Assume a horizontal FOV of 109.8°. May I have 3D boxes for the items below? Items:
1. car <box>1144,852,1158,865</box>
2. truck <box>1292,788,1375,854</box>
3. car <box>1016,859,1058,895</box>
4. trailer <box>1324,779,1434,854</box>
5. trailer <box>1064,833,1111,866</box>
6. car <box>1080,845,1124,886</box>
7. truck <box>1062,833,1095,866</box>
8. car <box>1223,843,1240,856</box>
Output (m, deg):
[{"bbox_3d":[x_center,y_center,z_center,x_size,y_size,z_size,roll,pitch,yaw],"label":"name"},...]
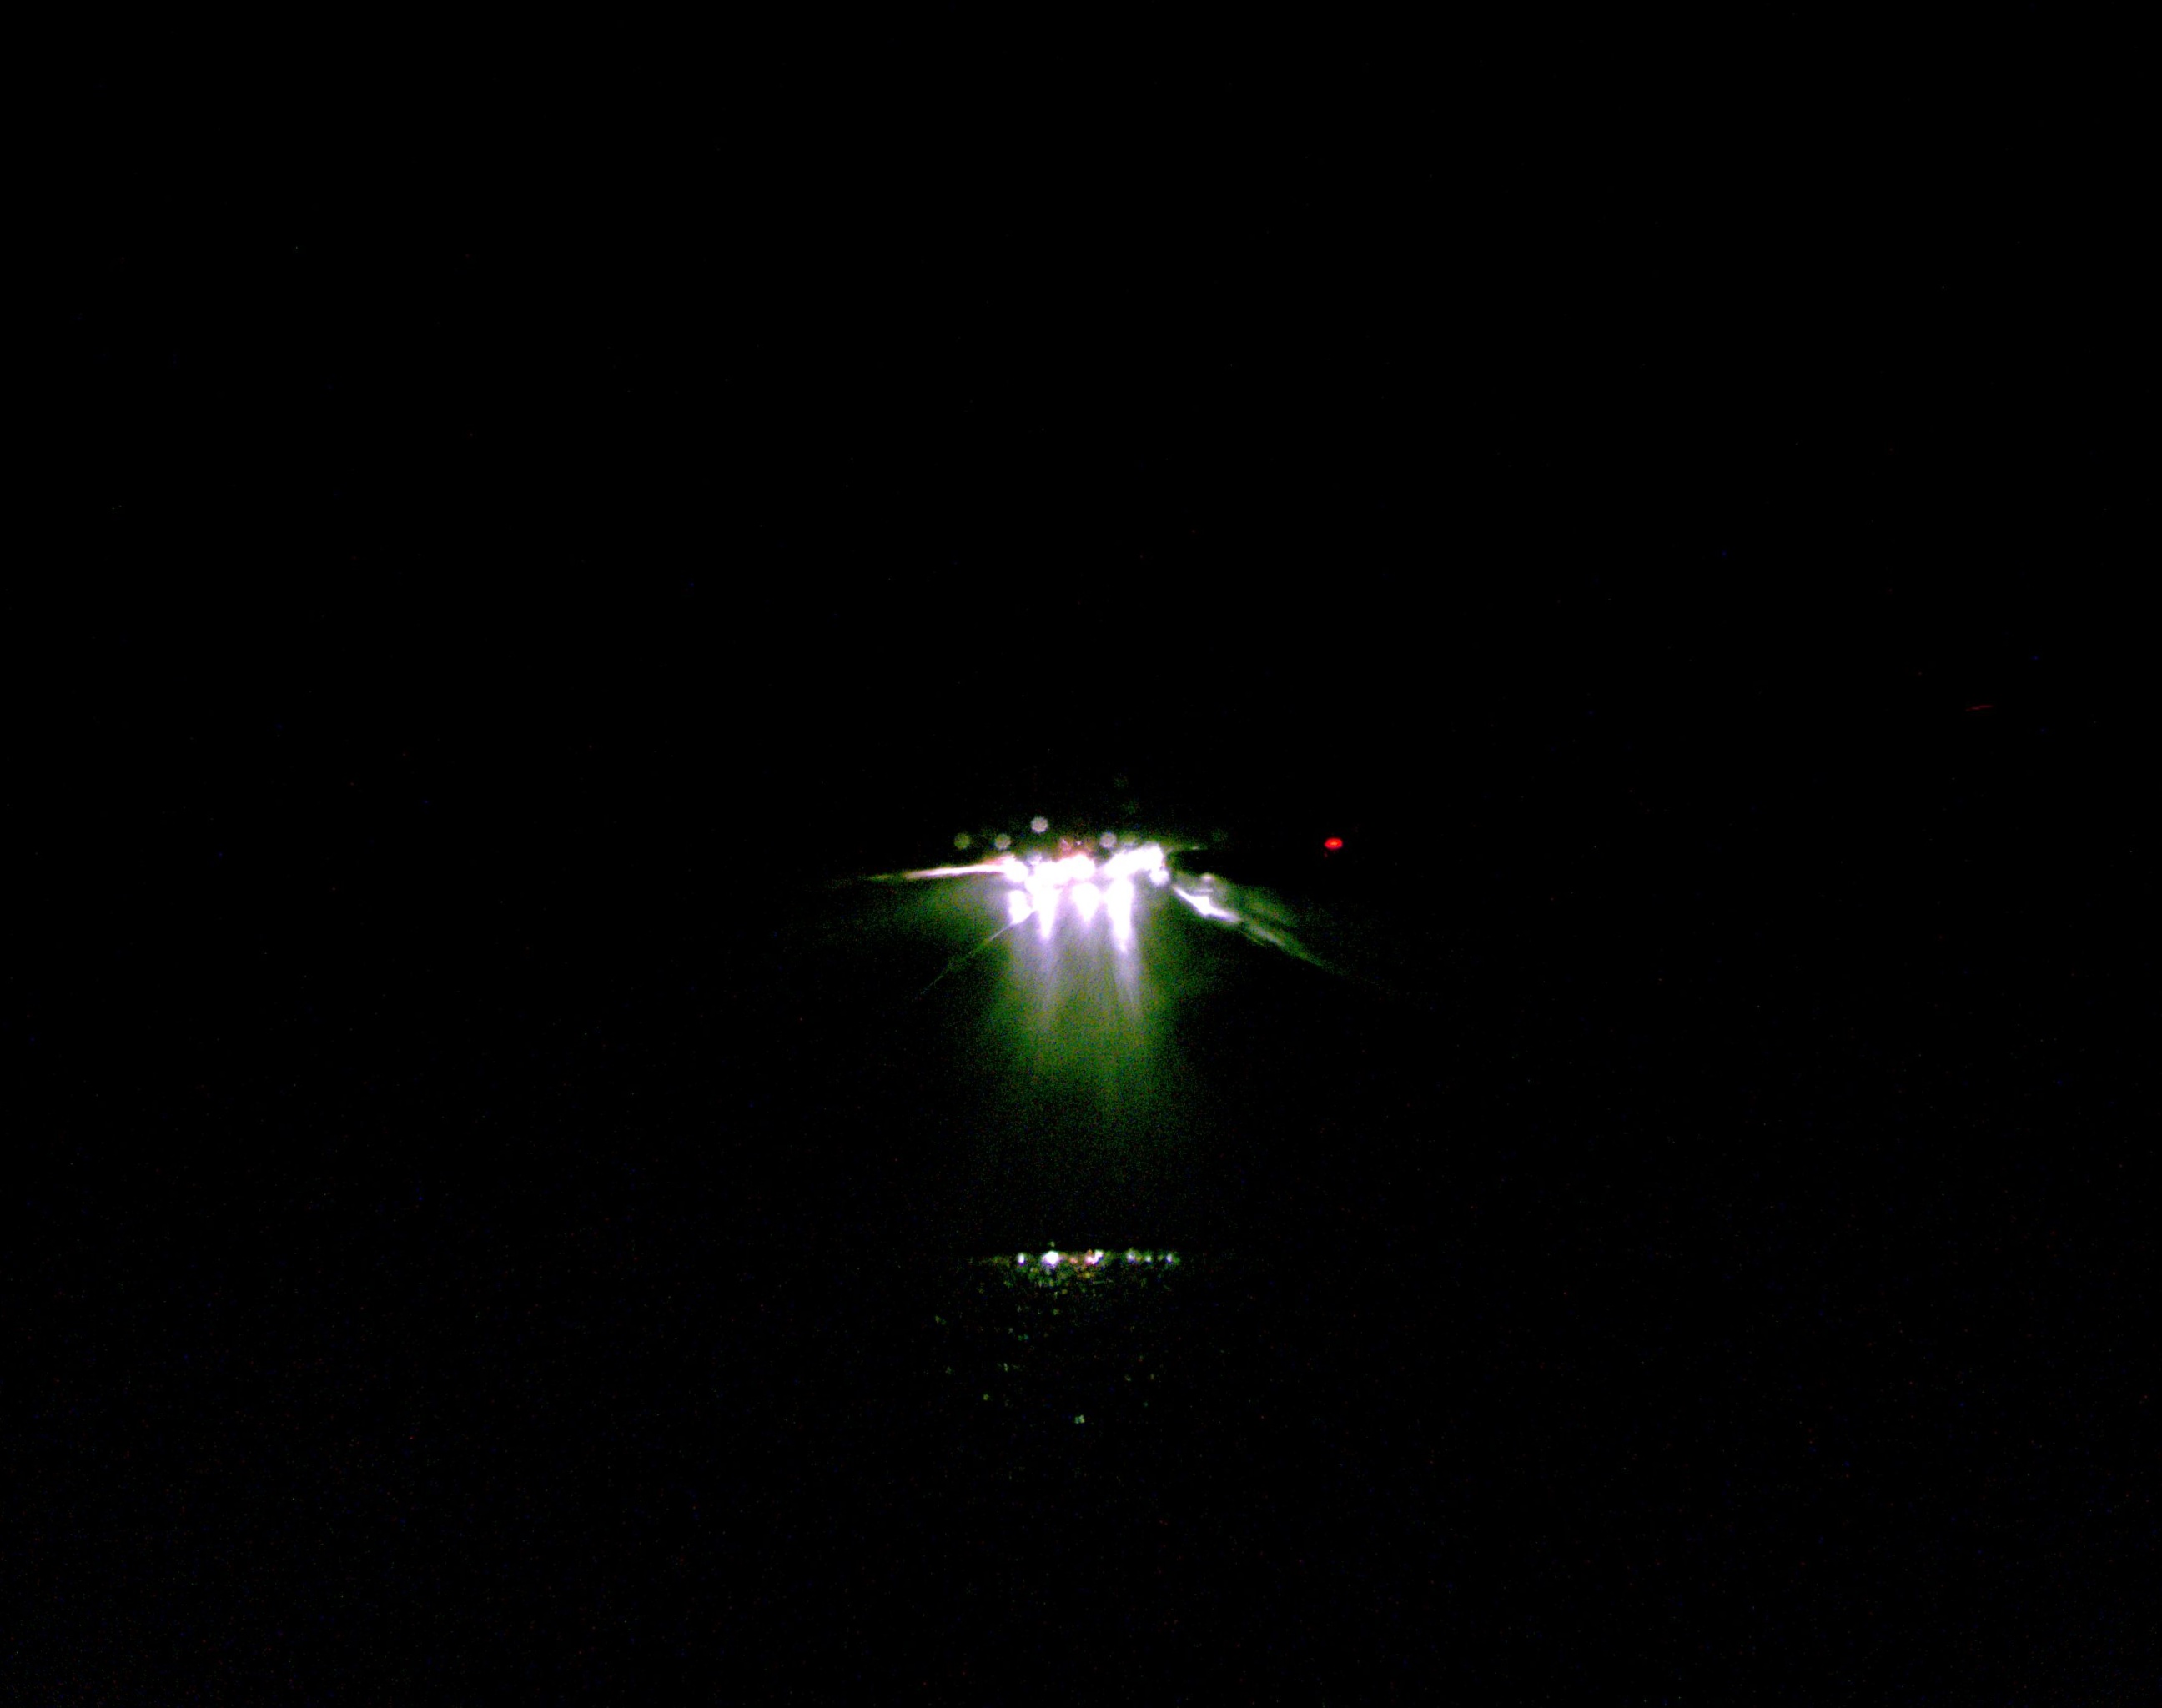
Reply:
[{"bbox_3d":[11.452,0.768,124.502,1.998,1.802,4.001,-6,-1,3],"label":"car"},{"bbox_3d":[18.547,-2.241,56.713,2.954,4.012,10.656,-6,-1,4],"label":"truck"},{"bbox_3d":[-2.240,1.203,39.424,1.848,1.614,3.679,-5,-1,-1],"label":"car"},{"bbox_3d":[17.919,-2.066,46.588,2.935,3.726,9.503,-6,-1,2],"label":"trailer"},{"bbox_3d":[1.111,-0.652,106.669,2.744,3.954,13.834,-7,-1,15],"label":"trailer"},{"bbox_3d":[1.233,0.648,42.138,1.998,2.001,4.002,-5,-1,5],"label":"car"},{"bbox_3d":[-0.290,-0.619,102.670,2.780,3.945,5.204,-7,-1,15],"label":"truck"},{"bbox_3d":[23.781,-0.681,119.993,1.998,1.674,4.002,-6,-1,4],"label":"car"}]
